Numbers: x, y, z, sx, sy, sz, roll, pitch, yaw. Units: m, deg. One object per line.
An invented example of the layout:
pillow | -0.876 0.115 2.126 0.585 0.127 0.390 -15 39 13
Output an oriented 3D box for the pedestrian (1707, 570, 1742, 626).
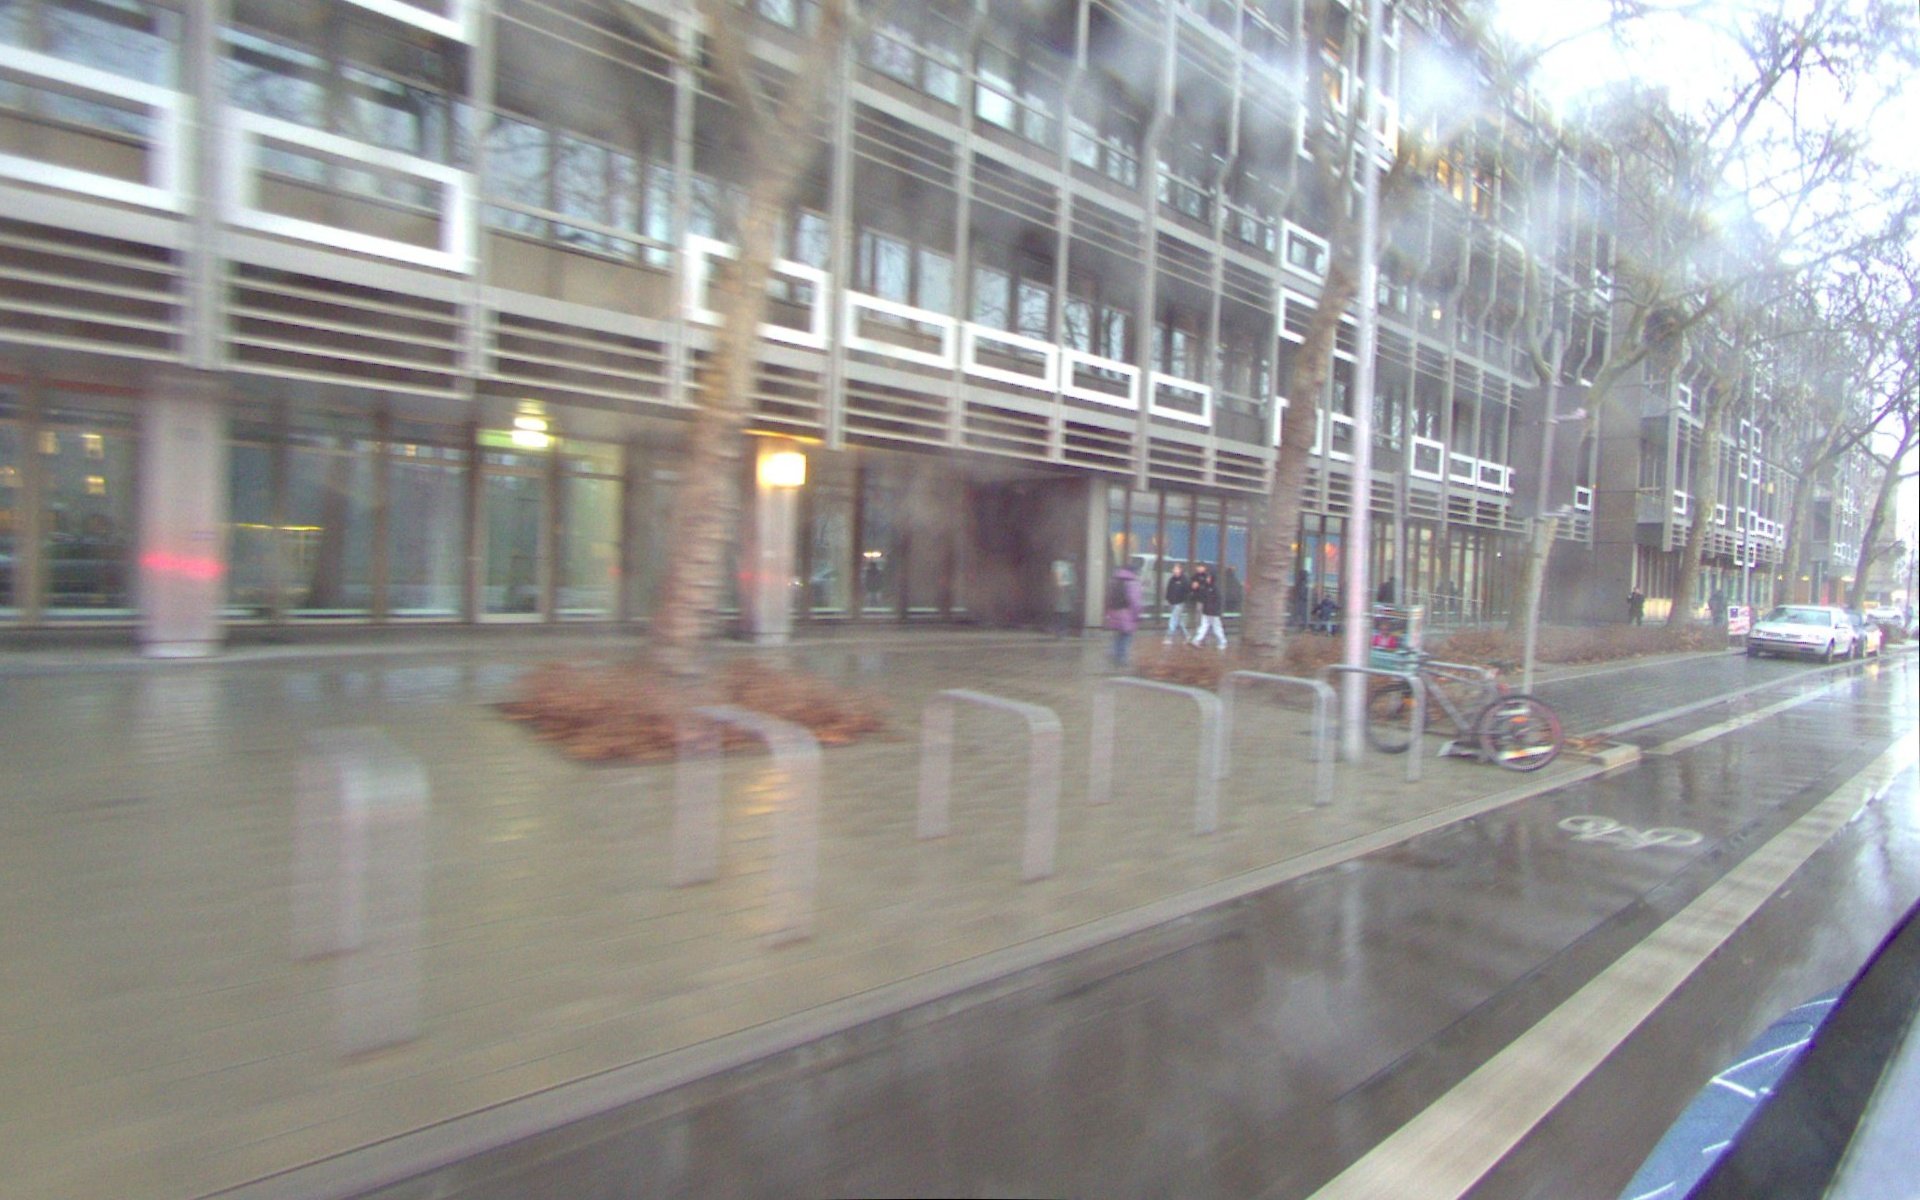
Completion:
pedestrian | 28.714 -0.080 38.022 1.006 2.038 0.791 1 1 -40

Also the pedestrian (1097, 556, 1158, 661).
pedestrian | 2.591 0.118 15.660 0.604 1.563 0.649 1 2 -39

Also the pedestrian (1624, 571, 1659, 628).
pedestrian | 24.845 -0.025 36.889 0.723 2.038 0.821 1 1 -42

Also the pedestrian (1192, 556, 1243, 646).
pedestrian | 4.958 0.013 19.477 0.857 1.688 0.501 1 2 -40

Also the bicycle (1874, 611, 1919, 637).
bicycle | 39.474 1.001 42.560 1.518 1.049 0.462 1 1 44

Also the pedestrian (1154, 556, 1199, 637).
pedestrian | 4.326 -0.073 20.244 0.732 1.583 0.484 1 2 -41

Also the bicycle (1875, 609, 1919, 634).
bicycle | 41.442 0.922 44.711 1.518 1.049 0.462 1 1 44

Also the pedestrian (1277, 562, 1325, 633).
pedestrian | 8.311 -0.070 24.661 0.825 1.675 0.643 1 1 -16

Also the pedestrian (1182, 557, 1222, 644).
pedestrian | 4.764 0.003 19.929 0.701 1.688 0.379 1 2 -40

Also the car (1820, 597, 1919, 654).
car | 27.828 0.747 30.874 3.948 1.567 1.763 1 2 -40

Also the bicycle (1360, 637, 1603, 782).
bicycle | 4.614 0.920 9.053 0.607 0.985 1.789 0 4 -43

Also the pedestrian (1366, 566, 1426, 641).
pedestrian | 9.333 0.058 21.679 0.823 1.543 0.866 1 2 -39

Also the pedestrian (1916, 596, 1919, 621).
pedestrian | 79.430 0.714 83.377 0.758 2.039 0.837 0 1 -40

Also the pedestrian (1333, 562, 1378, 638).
pedestrian | 9.293 -0.010 23.769 0.829 1.739 0.659 0 2 -45

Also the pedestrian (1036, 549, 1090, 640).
pedestrian | 1.954 -0.115 19.242 0.766 1.677 0.617 1 2 -40

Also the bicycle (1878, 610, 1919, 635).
bicycle | 40.572 0.965 43.567 1.518 1.049 0.462 1 1 44

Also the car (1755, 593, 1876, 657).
car | 22.747 0.630 26.868 3.858 1.449 1.609 0 5 -38

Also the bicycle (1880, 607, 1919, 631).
bicycle | 43.583 0.867 46.827 1.518 1.049 0.462 1 1 44
